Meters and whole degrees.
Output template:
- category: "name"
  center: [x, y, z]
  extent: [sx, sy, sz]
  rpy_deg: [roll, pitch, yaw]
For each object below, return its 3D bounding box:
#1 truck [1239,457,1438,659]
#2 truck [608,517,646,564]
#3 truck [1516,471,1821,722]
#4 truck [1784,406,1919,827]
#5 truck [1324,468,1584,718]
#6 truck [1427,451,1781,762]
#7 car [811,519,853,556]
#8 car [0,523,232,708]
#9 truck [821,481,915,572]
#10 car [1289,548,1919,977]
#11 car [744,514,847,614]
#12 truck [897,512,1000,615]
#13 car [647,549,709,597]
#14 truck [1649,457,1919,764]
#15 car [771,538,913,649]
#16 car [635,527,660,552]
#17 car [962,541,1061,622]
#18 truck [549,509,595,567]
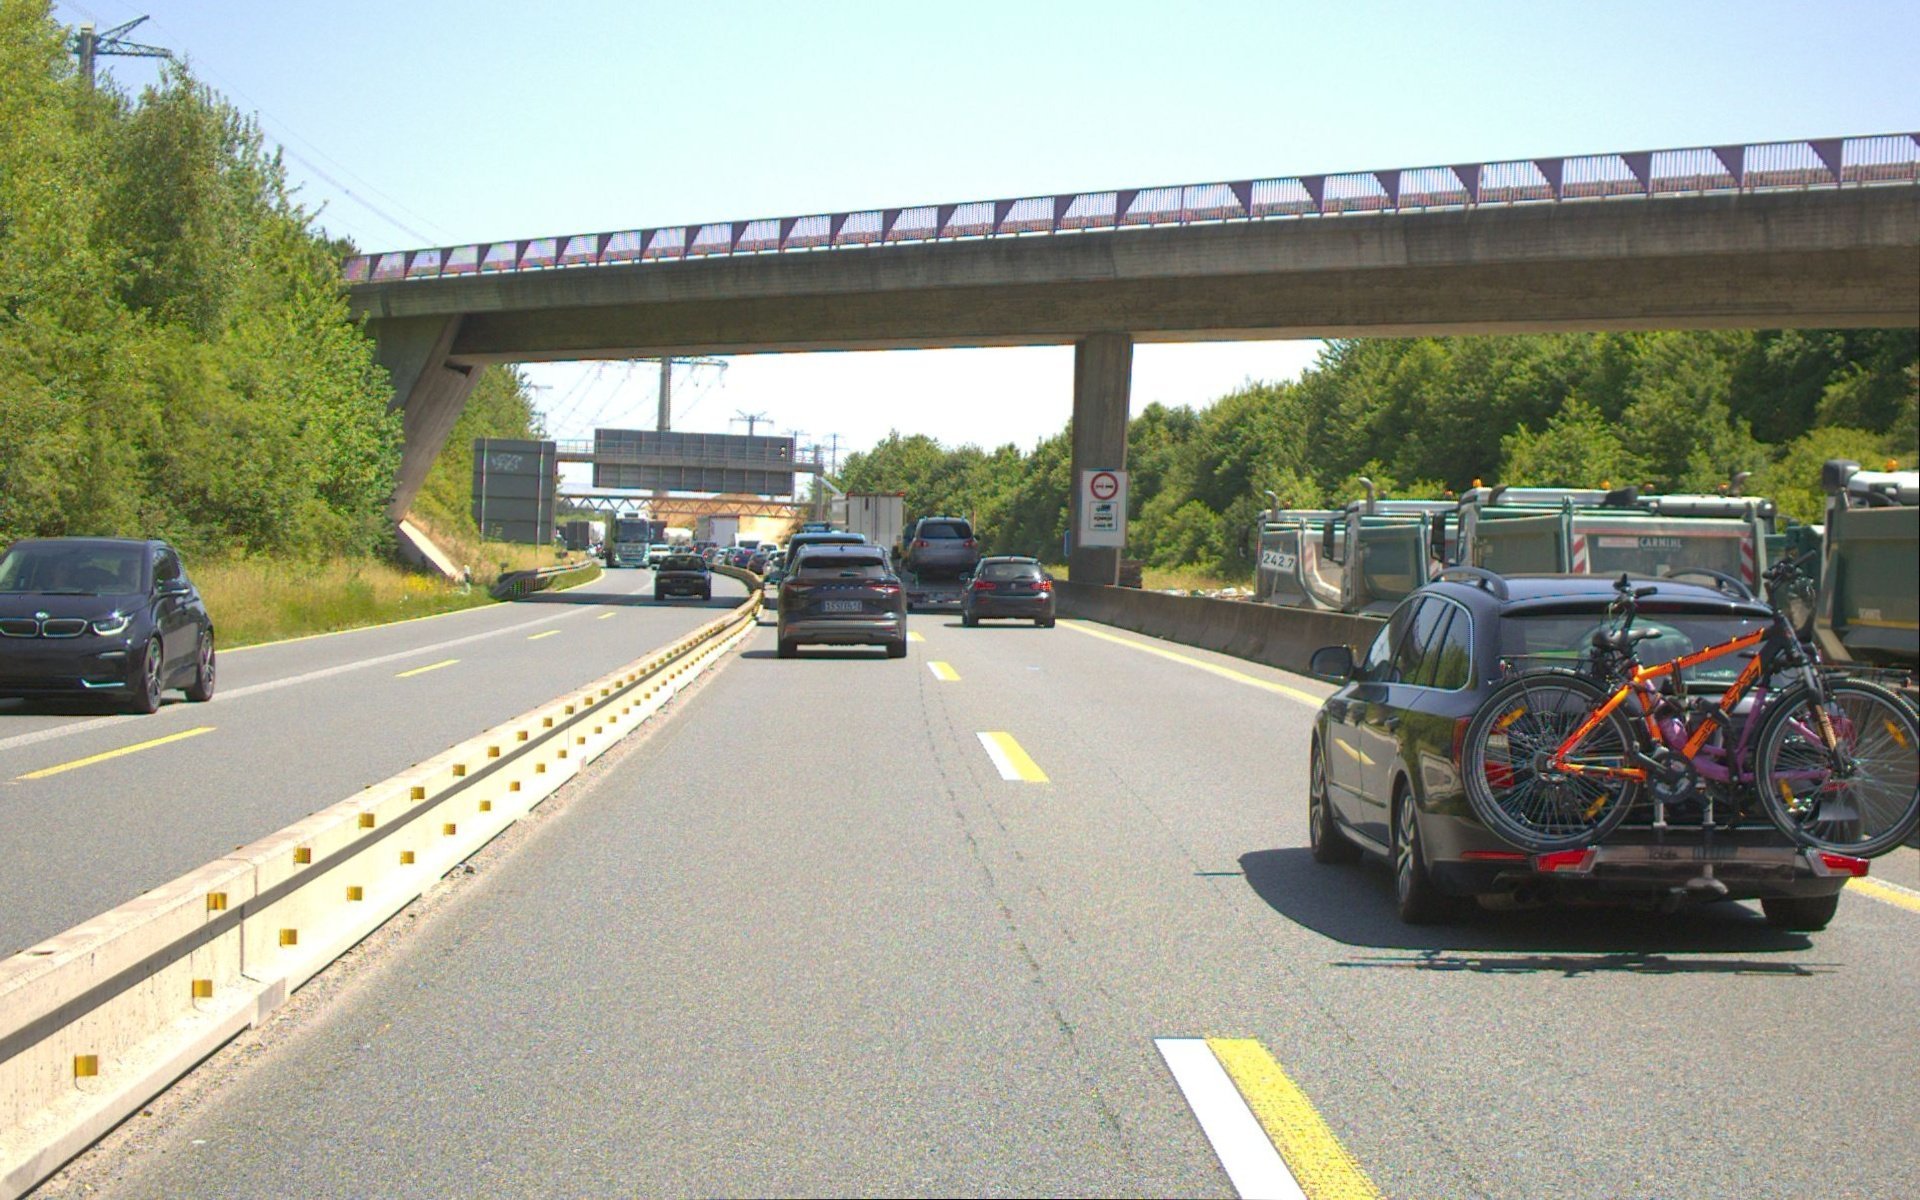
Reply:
- category: "truck"
  center: [7.629, -0.877, 70.505]
  extent: [2.687, 3.830, 9.326]
  rpy_deg: [1, 1, -2]
- category: "truck"
  center: [-23.344, -4.141, 240.870]
  extent: [2.508, 3.175, 10.112]
  rpy_deg: [1, 1, -6]
- category: "truck"
  center: [11.377, -0.126, 56.206]
  extent: [2.687, 3.714, 9.326]
  rpy_deg: [1, 1, -2]
- category: "truck"
  center: [9.457, 0.164, 28.399]
  extent: [2.687, 3.545, 9.326]
  rpy_deg: [1, 1, -2]
- category: "truck"
  center: [8.161, -0.185, 58.025]
  extent: [2.687, 3.843, 9.326]
  rpy_deg: [1, 1, -2]
- category: "truck"
  center: [8.484, 0.007, 46.565]
  extent: [2.687, 3.748, 9.326]
  rpy_deg: [1, 1, -2]
- category: "car"
  center: [-6.982, -3.370, 187.144]
  extent: [1.899, 1.962, 4.277]
  rpy_deg: [1, 1, -6]
- category: "car"
  center: [-8.004, 0.095, 31.609]
  extent: [1.778, 1.571, 4.069]
  rpy_deg: [1, 1, -1]
- category: "truck"
  center: [-4.130, -3.238, 151.897]
  extent: [3.292, 3.832, 10.112]
  rpy_deg: [1, 1, -6]
- category: "car"
  center: [2.619, 0.555, 14.641]
  extent: [1.899, 1.485, 4.948]
  rpy_deg: [1, 0, 0]
- category: "car"
  center: [-3.346, -0.736, 70.665]
  extent: [1.899, 1.962, 4.276]
  rpy_deg: [1, 1, 0]
- category: "truck"
  center: [-0.361, -0.991, 90.273]
  extent: [2.405, 2.549, 7.501]
  rpy_deg: [1, 1, -2]
- category: "car"
  center: [-8.601, -0.827, 105.065]
  extent: [1.673, 1.388, 4.071]
  rpy_deg: [1, 0, -2]
- category: "truck"
  center: [11.388, 0.058, 44.467]
  extent: [2.687, 3.545, 9.326]
  rpy_deg: [1, 1, -2]
- category: "car"
  center: [-1.654, -0.113, 49.507]
  extent: [1.899, 1.500, 4.276]
  rpy_deg: [1, 1, 0]
- category: "car"
  center: [-23.337, -4.500, 256.703]
  extent: [1.762, 1.831, 4.001]
  rpy_deg: [1, 0, -6]
- category: "car"
  center: [1.026, -0.400, 70.637]
  extent: [1.899, 1.580, 4.276]
  rpy_deg: [1, 1, -1]
- category: "truck"
  center: [-22.050, -3.537, 195.665]
  extent: [2.508, 3.175, 10.112]
  rpy_deg: [1, 1, -6]
